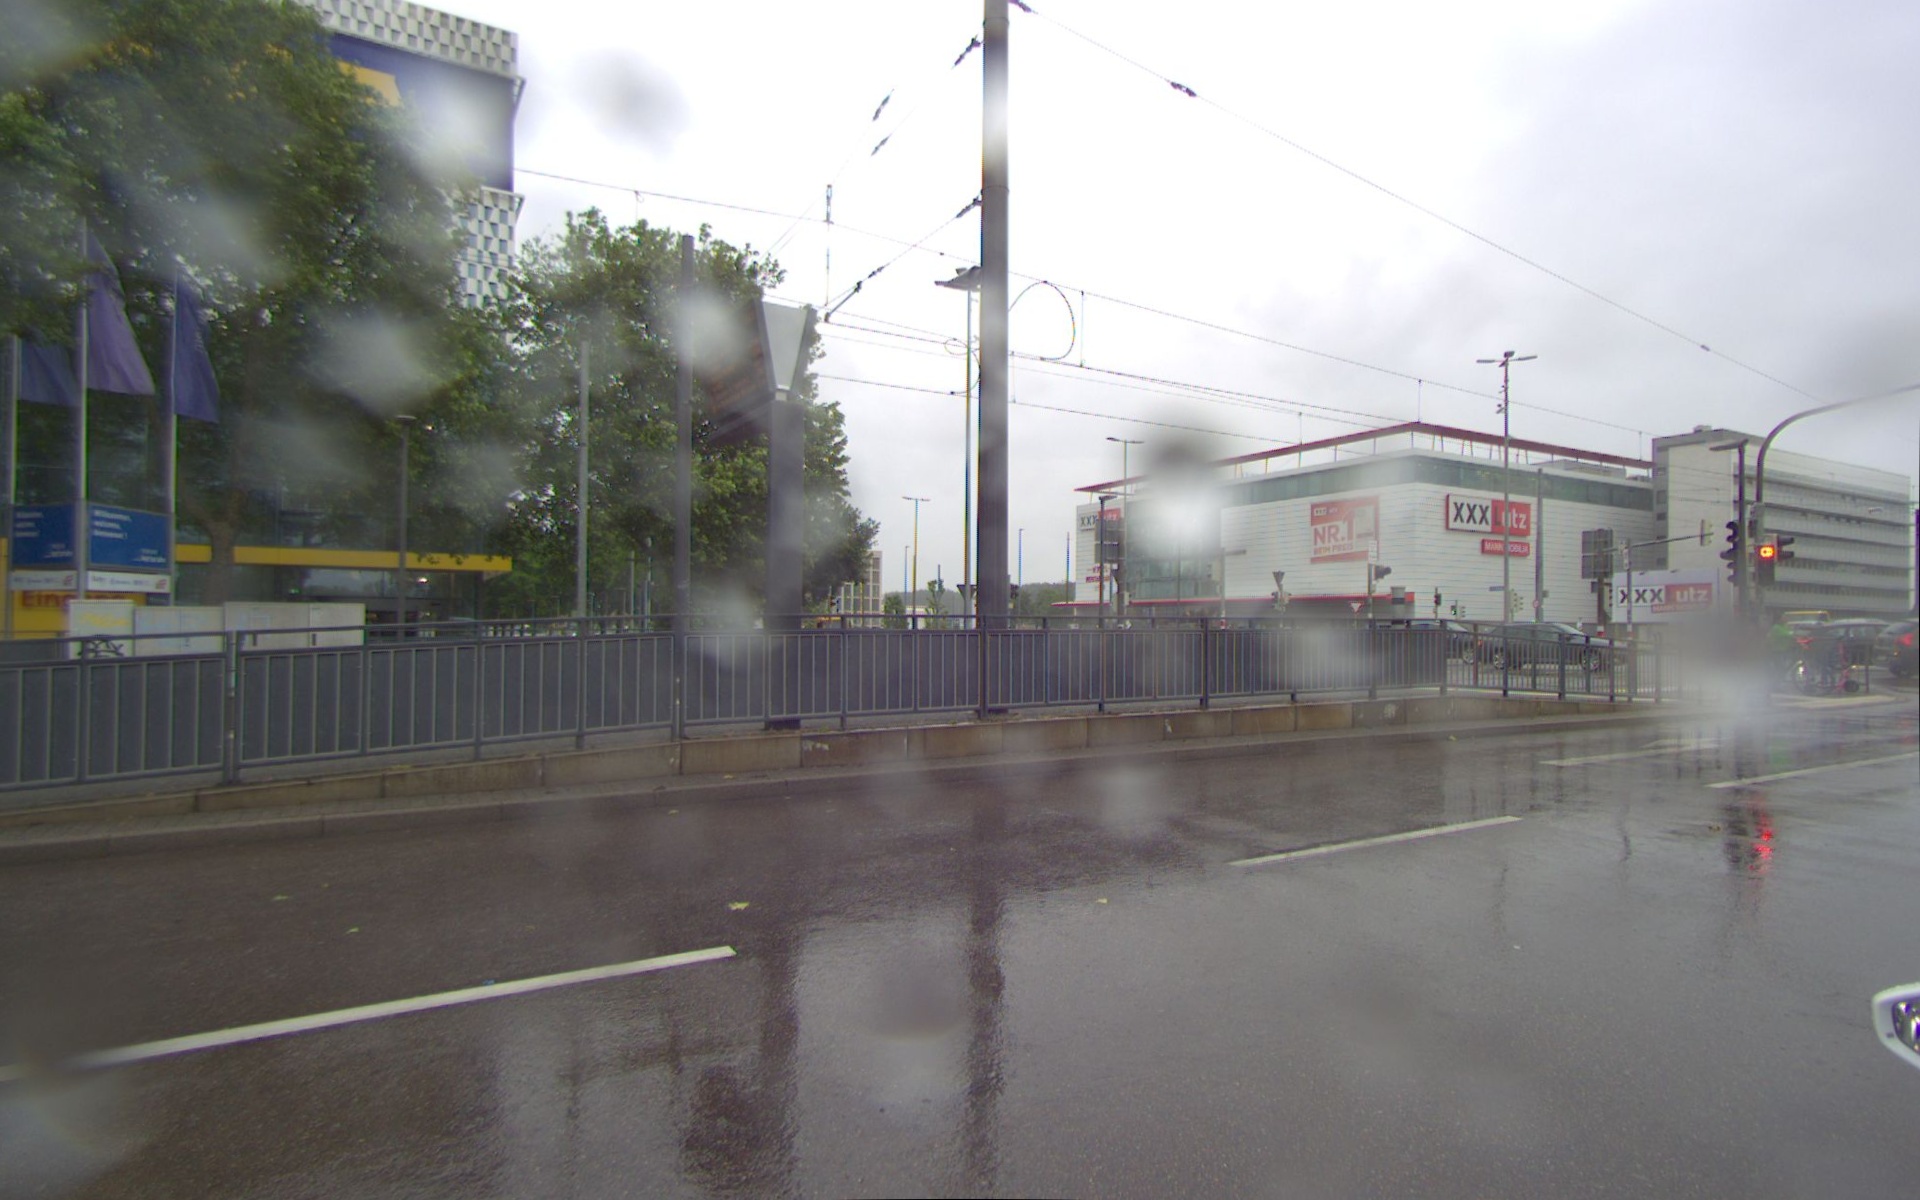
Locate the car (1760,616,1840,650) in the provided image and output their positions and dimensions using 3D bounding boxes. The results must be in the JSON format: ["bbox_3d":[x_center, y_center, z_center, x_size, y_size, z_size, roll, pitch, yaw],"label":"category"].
[{"bbox_3d":[39.811,1.575,47.613,3.765,1.445,1.702,3,1,-30],"label":"car"}]

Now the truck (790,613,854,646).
[{"bbox_3d":[-11.288,2.370,81.809,2.445,2.240,7.329,3,1,-31],"label":"truck"}]

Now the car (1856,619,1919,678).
[{"bbox_3d":[25.878,1.338,25.852,3.850,1.417,1.534,4,3,25],"label":"car"}]

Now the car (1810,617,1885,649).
[{"bbox_3d":[44.790,1.654,50.666,3.765,1.445,1.702,3,1,-30],"label":"car"}]

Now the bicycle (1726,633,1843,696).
[{"bbox_3d":[16.666,1.287,20.337,1.724,1.153,0.520,2,0,18],"label":"bicycle"}]

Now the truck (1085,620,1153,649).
[{"bbox_3d":[12.510,2.700,79.429,1.990,1.968,5.847,3,1,-31],"label":"truck"}]

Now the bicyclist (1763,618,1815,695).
[{"bbox_3d":[16.782,1.124,20.343,0.593,1.511,0.600,2,0,20],"label":"bicyclist"}]

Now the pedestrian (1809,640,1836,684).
[{"bbox_3d":[18.459,1.326,21.490,0.376,0.909,0.313,1,2,-32],"label":"pedestrian"}]

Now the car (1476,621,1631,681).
[{"bbox_3d":[18.082,1.499,30.730,1.524,1.417,3.750,1,3,-41],"label":"car"}]

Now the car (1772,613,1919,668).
[{"bbox_3d":[28.022,1.252,31.631,3.384,1.417,1.651,3,2,8],"label":"car"}]

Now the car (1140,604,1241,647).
[{"bbox_3d":[9.374,1.022,41.002,1.640,1.527,3.694,1,1,-44],"label":"car"}]

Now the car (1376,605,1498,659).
[{"bbox_3d":[17.958,1.160,37.955,1.694,1.696,3.749,0,3,-42],"label":"car"}]
